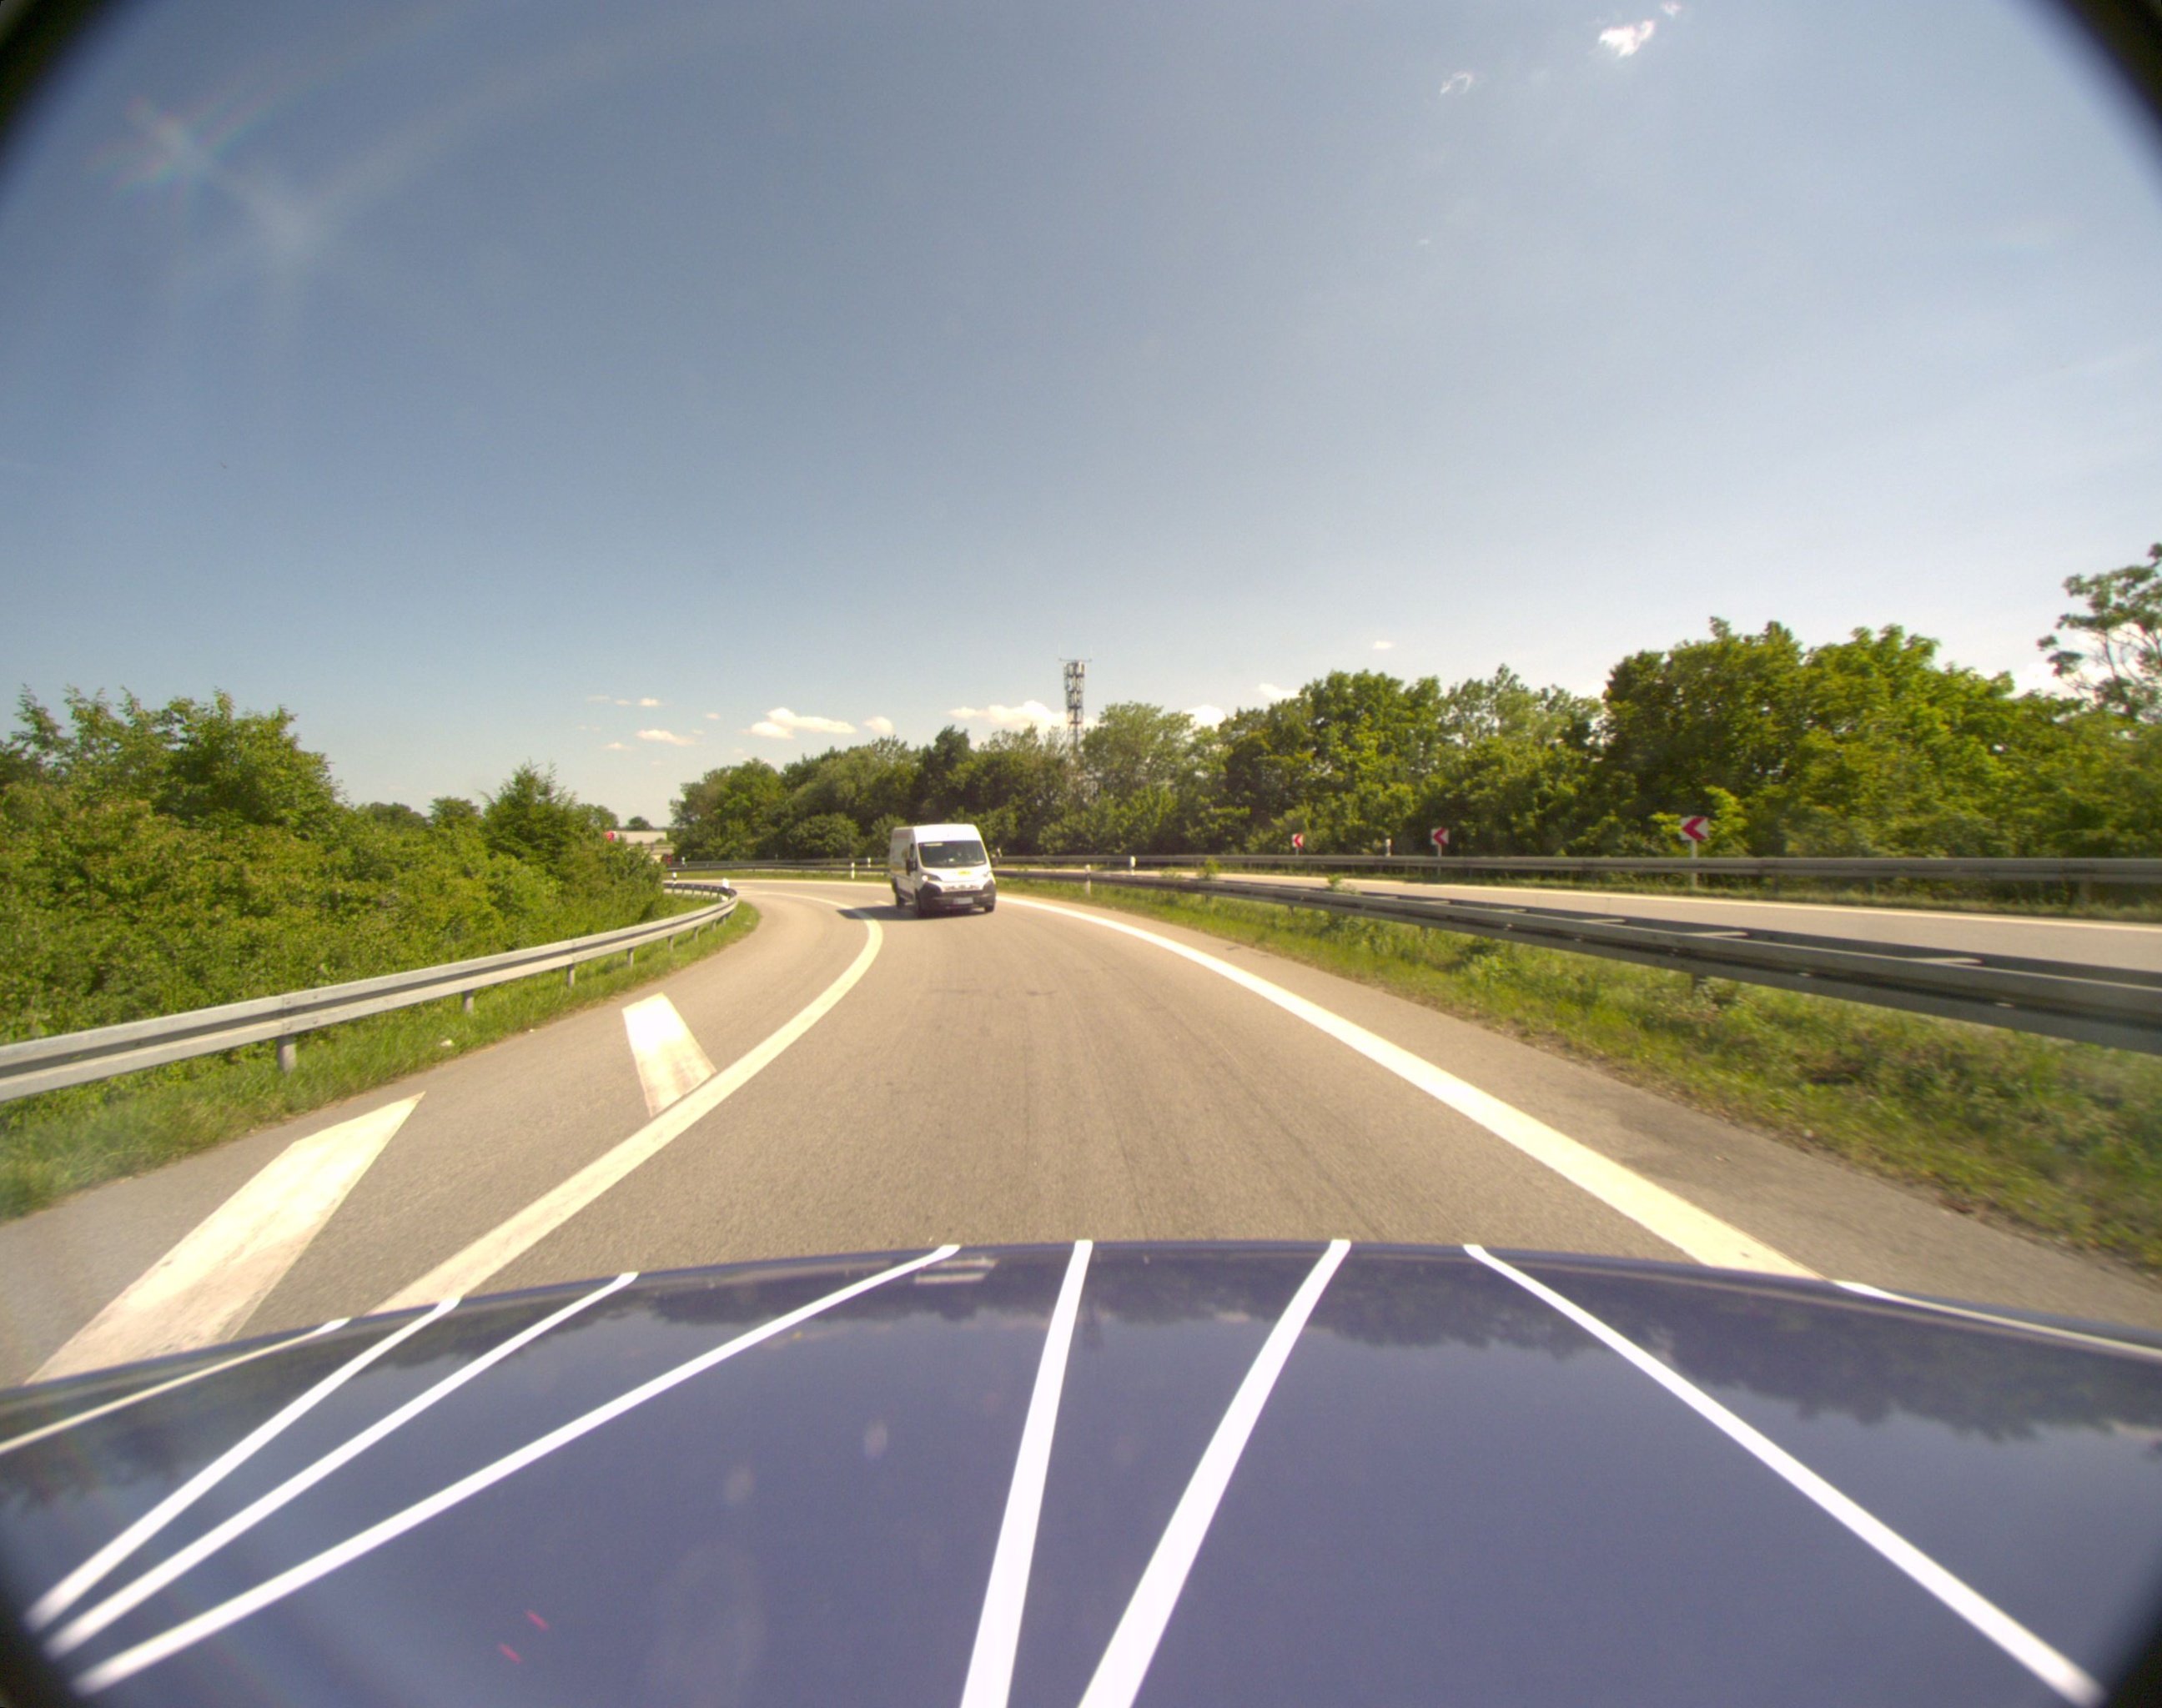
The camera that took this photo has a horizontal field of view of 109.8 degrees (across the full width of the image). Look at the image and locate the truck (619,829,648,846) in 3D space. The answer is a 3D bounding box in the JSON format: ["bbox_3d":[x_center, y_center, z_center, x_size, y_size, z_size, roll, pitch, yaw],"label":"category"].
[{"bbox_3d":[-110.090,-4.045,186.968,2.741,4.140,5.166,-2,1,25],"label":"truck"}]

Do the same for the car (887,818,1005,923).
[{"bbox_3d":[-4.128,0.399,22.170,2.090,2.510,6.225,-4,2,-21],"label":"car"}]

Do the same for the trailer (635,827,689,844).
[{"bbox_3d":[-106.781,-4.671,194.089,2.741,4.140,12.809,-2,1,25],"label":"trailer"}]
